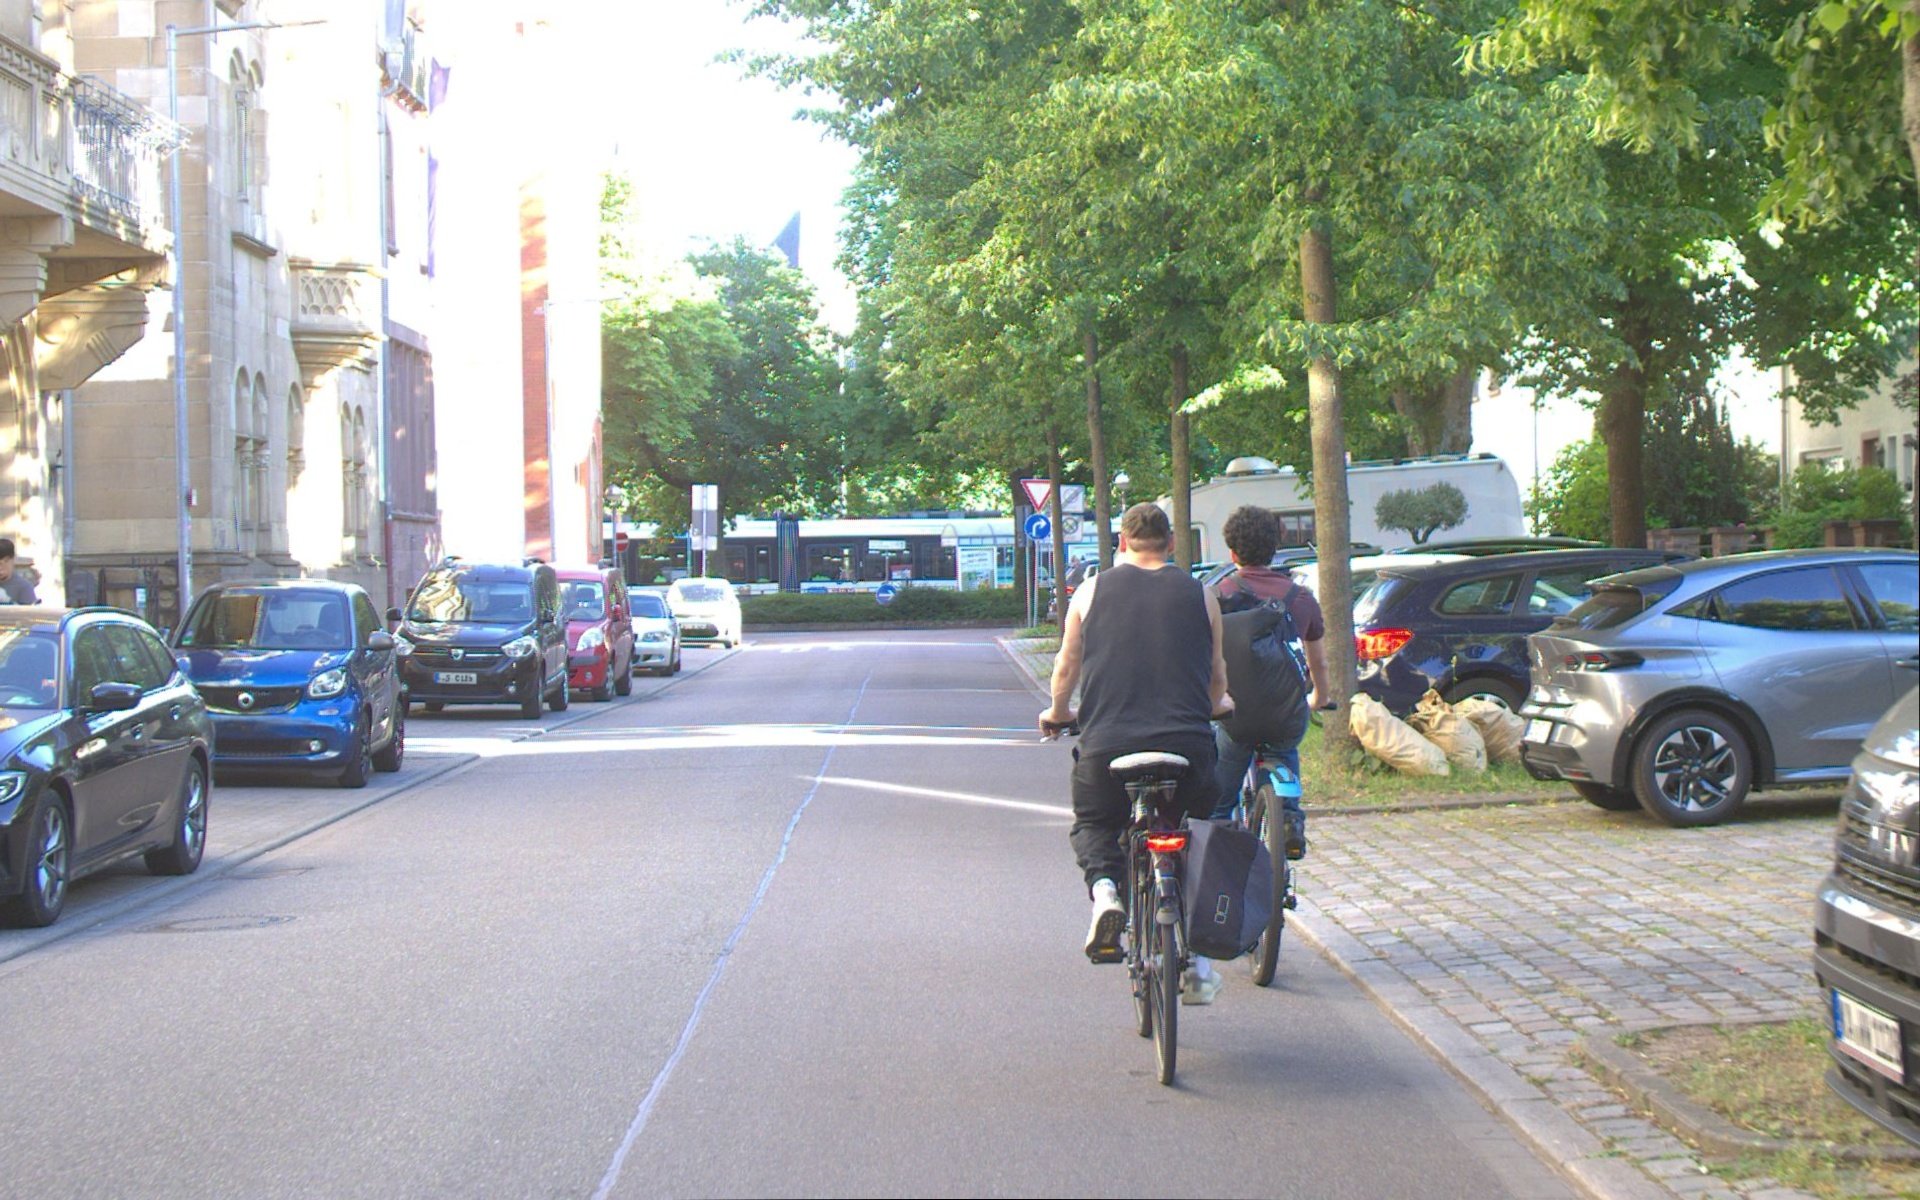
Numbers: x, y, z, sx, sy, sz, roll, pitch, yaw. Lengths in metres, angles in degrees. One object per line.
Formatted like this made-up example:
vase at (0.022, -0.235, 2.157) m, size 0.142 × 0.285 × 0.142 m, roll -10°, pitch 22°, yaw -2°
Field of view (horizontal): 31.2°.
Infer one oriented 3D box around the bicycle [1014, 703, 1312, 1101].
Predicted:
bicycle at (0.584, 0.875, 10.599) m, size 0.737 × 1.050 × 1.956 m, roll 1°, pitch 0°, yaw -2°

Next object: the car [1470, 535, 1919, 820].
car at (4.993, 0.375, 18.913) m, size 4.032 × 1.449 × 1.691 m, roll -1°, pitch 1°, yaw -4°

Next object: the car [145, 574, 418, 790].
car at (-5.175, 0.591, 26.483) m, size 1.595 × 1.484 × 2.737 m, roll 2°, pitch 1°, yaw -2°

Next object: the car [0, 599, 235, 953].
car at (-4.952, 0.761, 17.194) m, size 1.675 × 1.425 × 4.550 m, roll 1°, pitch 1°, yaw 0°

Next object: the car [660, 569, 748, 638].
car at (-5.542, 0.058, 74.723) m, size 1.583 × 1.371 × 4.131 m, roll 1°, pitch 1°, yaw 0°

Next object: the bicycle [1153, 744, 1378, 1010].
bicycle at (1.109, 0.998, 12.811) m, size 0.633 × 0.796 × 1.832 m, roll -2°, pitch 1°, yaw -1°

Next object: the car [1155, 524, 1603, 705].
car at (4.019, 0.154, 33.488) m, size 4.139 × 1.594 × 1.702 m, roll -2°, pitch -1°, yaw 1°

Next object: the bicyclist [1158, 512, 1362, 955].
bicyclist at (1.127, 0.484, 13.099) m, size 0.689 × 1.621 × 0.998 m, roll 0°, pitch 0°, yaw 0°

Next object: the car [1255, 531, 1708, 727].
car at (4.605, 0.271, 30.744) m, size 3.773 × 1.594 × 1.690 m, roll -2°, pitch -1°, yaw 1°

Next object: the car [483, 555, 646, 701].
car at (-5.295, 0.335, 46.467) m, size 1.689 × 1.819 × 4.273 m, roll 1°, pitch 1°, yaw 0°

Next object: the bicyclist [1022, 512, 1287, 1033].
bicyclist at (0.588, 0.514, 10.671) m, size 0.730 × 1.542 × 0.884 m, roll 1°, pitch 0°, yaw -2°

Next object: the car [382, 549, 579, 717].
car at (-5.451, 0.327, 39.533) m, size 1.640 × 1.777 × 4.354 m, roll 1°, pitch 1°, yaw 0°

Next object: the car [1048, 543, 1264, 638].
car at (3.743, -0.184, 66.111) m, size 3.986 × 1.797 × 1.834 m, roll 0°, pitch 0°, yaw -2°

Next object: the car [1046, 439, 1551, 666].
car at (5.013, -0.714, 51.707) m, size 7.146 × 2.968 × 2.465 m, roll -3°, pitch 0°, yaw -3°

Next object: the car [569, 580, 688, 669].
car at (-5.505, 0.384, 57.468) m, size 1.583 × 1.339 × 4.131 m, roll 1°, pitch 1°, yaw 0°

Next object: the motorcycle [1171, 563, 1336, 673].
motorcycle at (3.133, 0.194, 36.774) m, size 1.606 × 1.137 × 0.671 m, roll -1°, pitch 1°, yaw 33°

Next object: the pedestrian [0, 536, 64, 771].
pedestrian at (-7.286, 0.394, 25.781) m, size 0.938 × 1.736 × 0.735 m, roll 0°, pitch 0°, yaw 0°

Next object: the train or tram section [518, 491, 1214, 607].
train or tram section at (-2.943, -1.649, 117.485) m, size 23.800 × 3.696 × 4.287 m, roll 0°, pitch 0°, yaw -22°

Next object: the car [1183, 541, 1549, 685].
car at (4.893, 0.173, 41.757) m, size 4.138 × 1.594 × 1.702 m, roll -2°, pitch -1°, yaw -3°

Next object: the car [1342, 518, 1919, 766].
car at (4.927, 0.298, 24.404) m, size 4.223 × 1.594 × 1.690 m, roll -2°, pitch -1°, yaw 1°

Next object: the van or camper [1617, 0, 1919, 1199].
van or camper at (5.181, -0.180, 6.802) m, size 7.147 × 2.638 × 2.464 m, roll -4°, pitch 1°, yaw 2°

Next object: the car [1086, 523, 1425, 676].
car at (3.779, -0.013, 44.430) m, size 4.082 × 1.644 × 1.641 m, roll -4°, pitch 0°, yaw -2°

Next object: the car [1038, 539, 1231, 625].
car at (3.730, -0.382, 73.997) m, size 3.986 × 1.797 × 1.834 m, roll 0°, pitch 0°, yaw -2°
